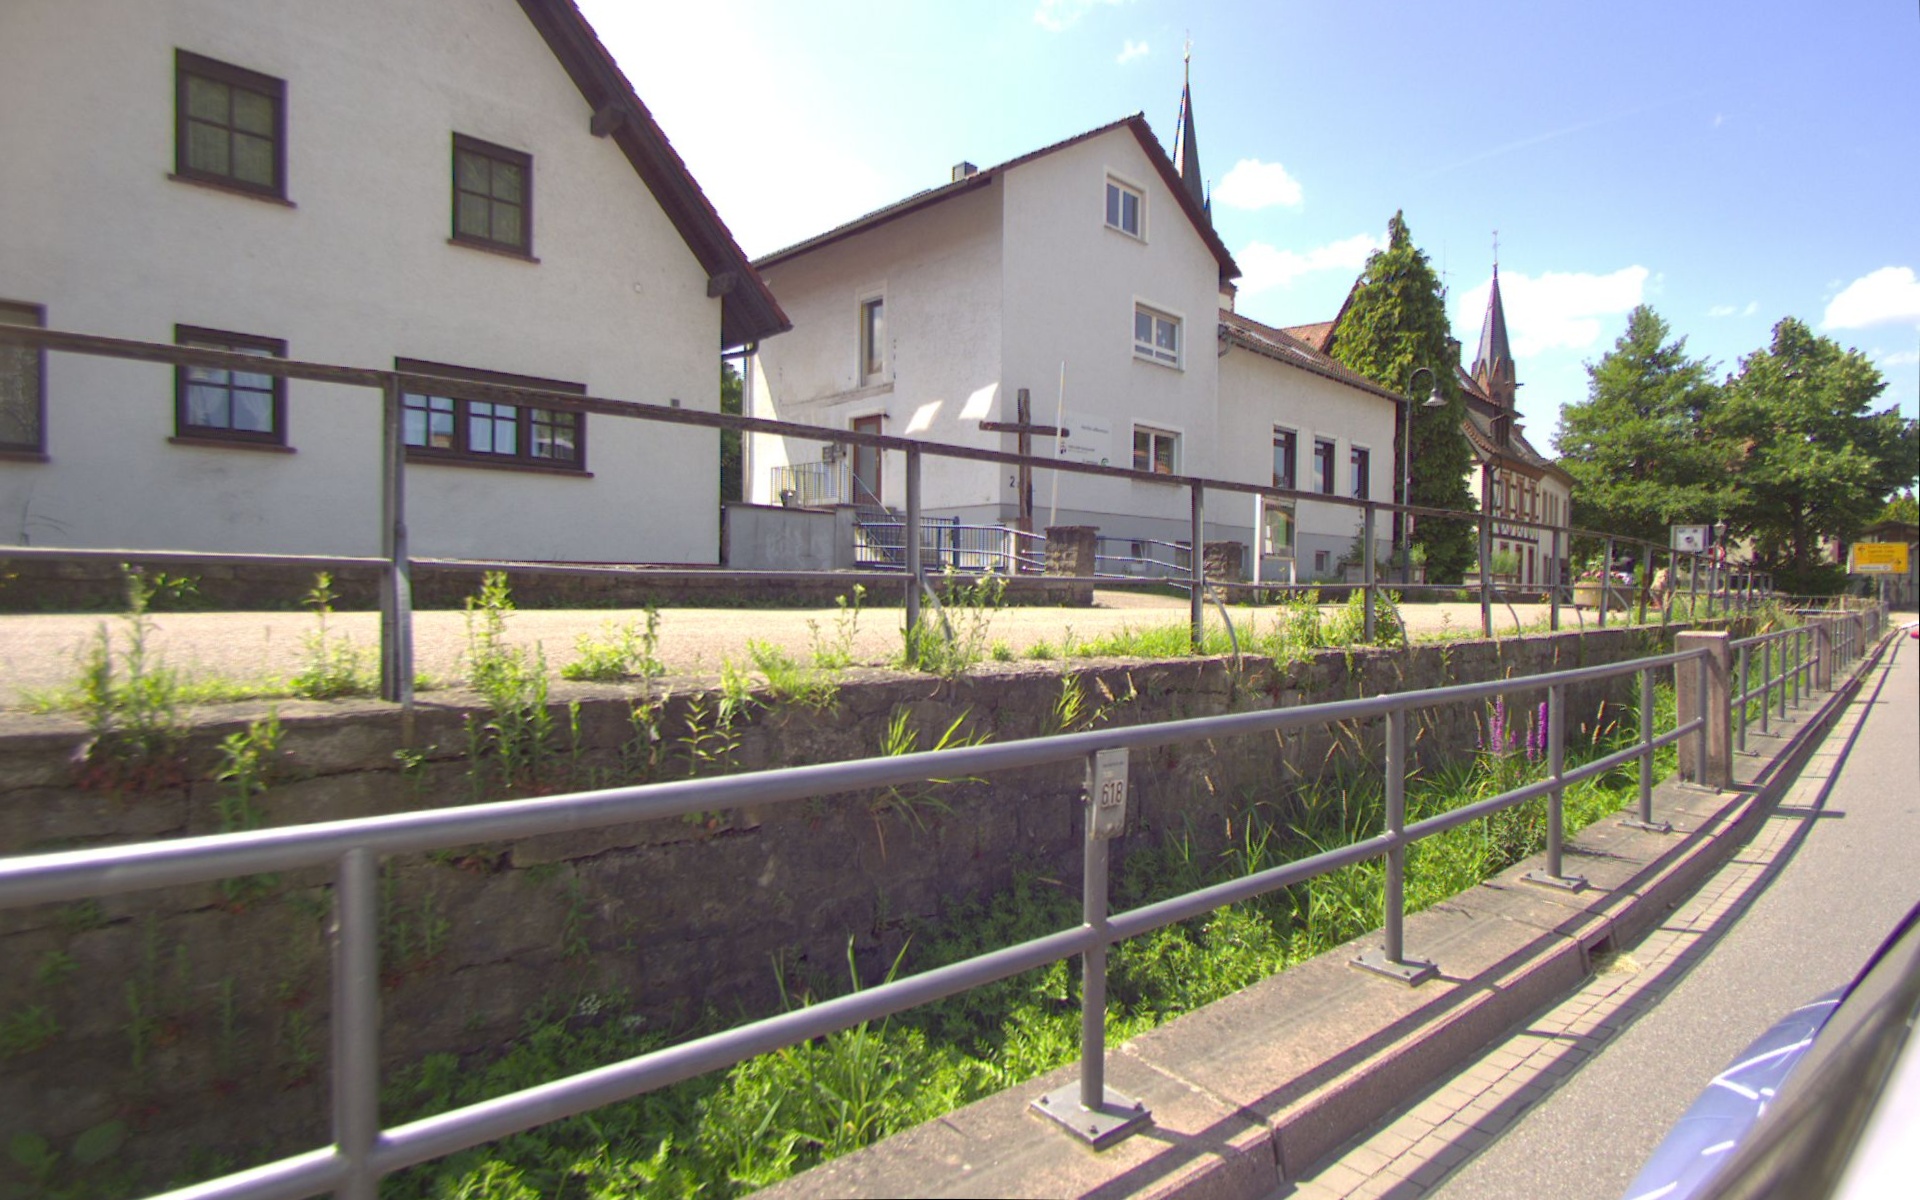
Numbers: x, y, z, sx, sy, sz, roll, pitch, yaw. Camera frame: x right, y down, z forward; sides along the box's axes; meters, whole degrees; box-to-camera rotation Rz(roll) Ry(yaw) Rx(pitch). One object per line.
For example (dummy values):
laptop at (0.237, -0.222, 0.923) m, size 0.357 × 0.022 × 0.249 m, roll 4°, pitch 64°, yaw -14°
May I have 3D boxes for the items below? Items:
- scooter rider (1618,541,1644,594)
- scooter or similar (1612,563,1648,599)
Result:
scooter rider at (22.572, -1.082, 34.061) m, size 0.545 × 1.753 × 0.641 m, roll 0°, pitch 0°, yaw -45°
scooter or similar at (22.600, -0.642, 34.103) m, size 0.642 × 1.156 × 1.782 m, roll 3°, pitch 3°, yaw 45°
